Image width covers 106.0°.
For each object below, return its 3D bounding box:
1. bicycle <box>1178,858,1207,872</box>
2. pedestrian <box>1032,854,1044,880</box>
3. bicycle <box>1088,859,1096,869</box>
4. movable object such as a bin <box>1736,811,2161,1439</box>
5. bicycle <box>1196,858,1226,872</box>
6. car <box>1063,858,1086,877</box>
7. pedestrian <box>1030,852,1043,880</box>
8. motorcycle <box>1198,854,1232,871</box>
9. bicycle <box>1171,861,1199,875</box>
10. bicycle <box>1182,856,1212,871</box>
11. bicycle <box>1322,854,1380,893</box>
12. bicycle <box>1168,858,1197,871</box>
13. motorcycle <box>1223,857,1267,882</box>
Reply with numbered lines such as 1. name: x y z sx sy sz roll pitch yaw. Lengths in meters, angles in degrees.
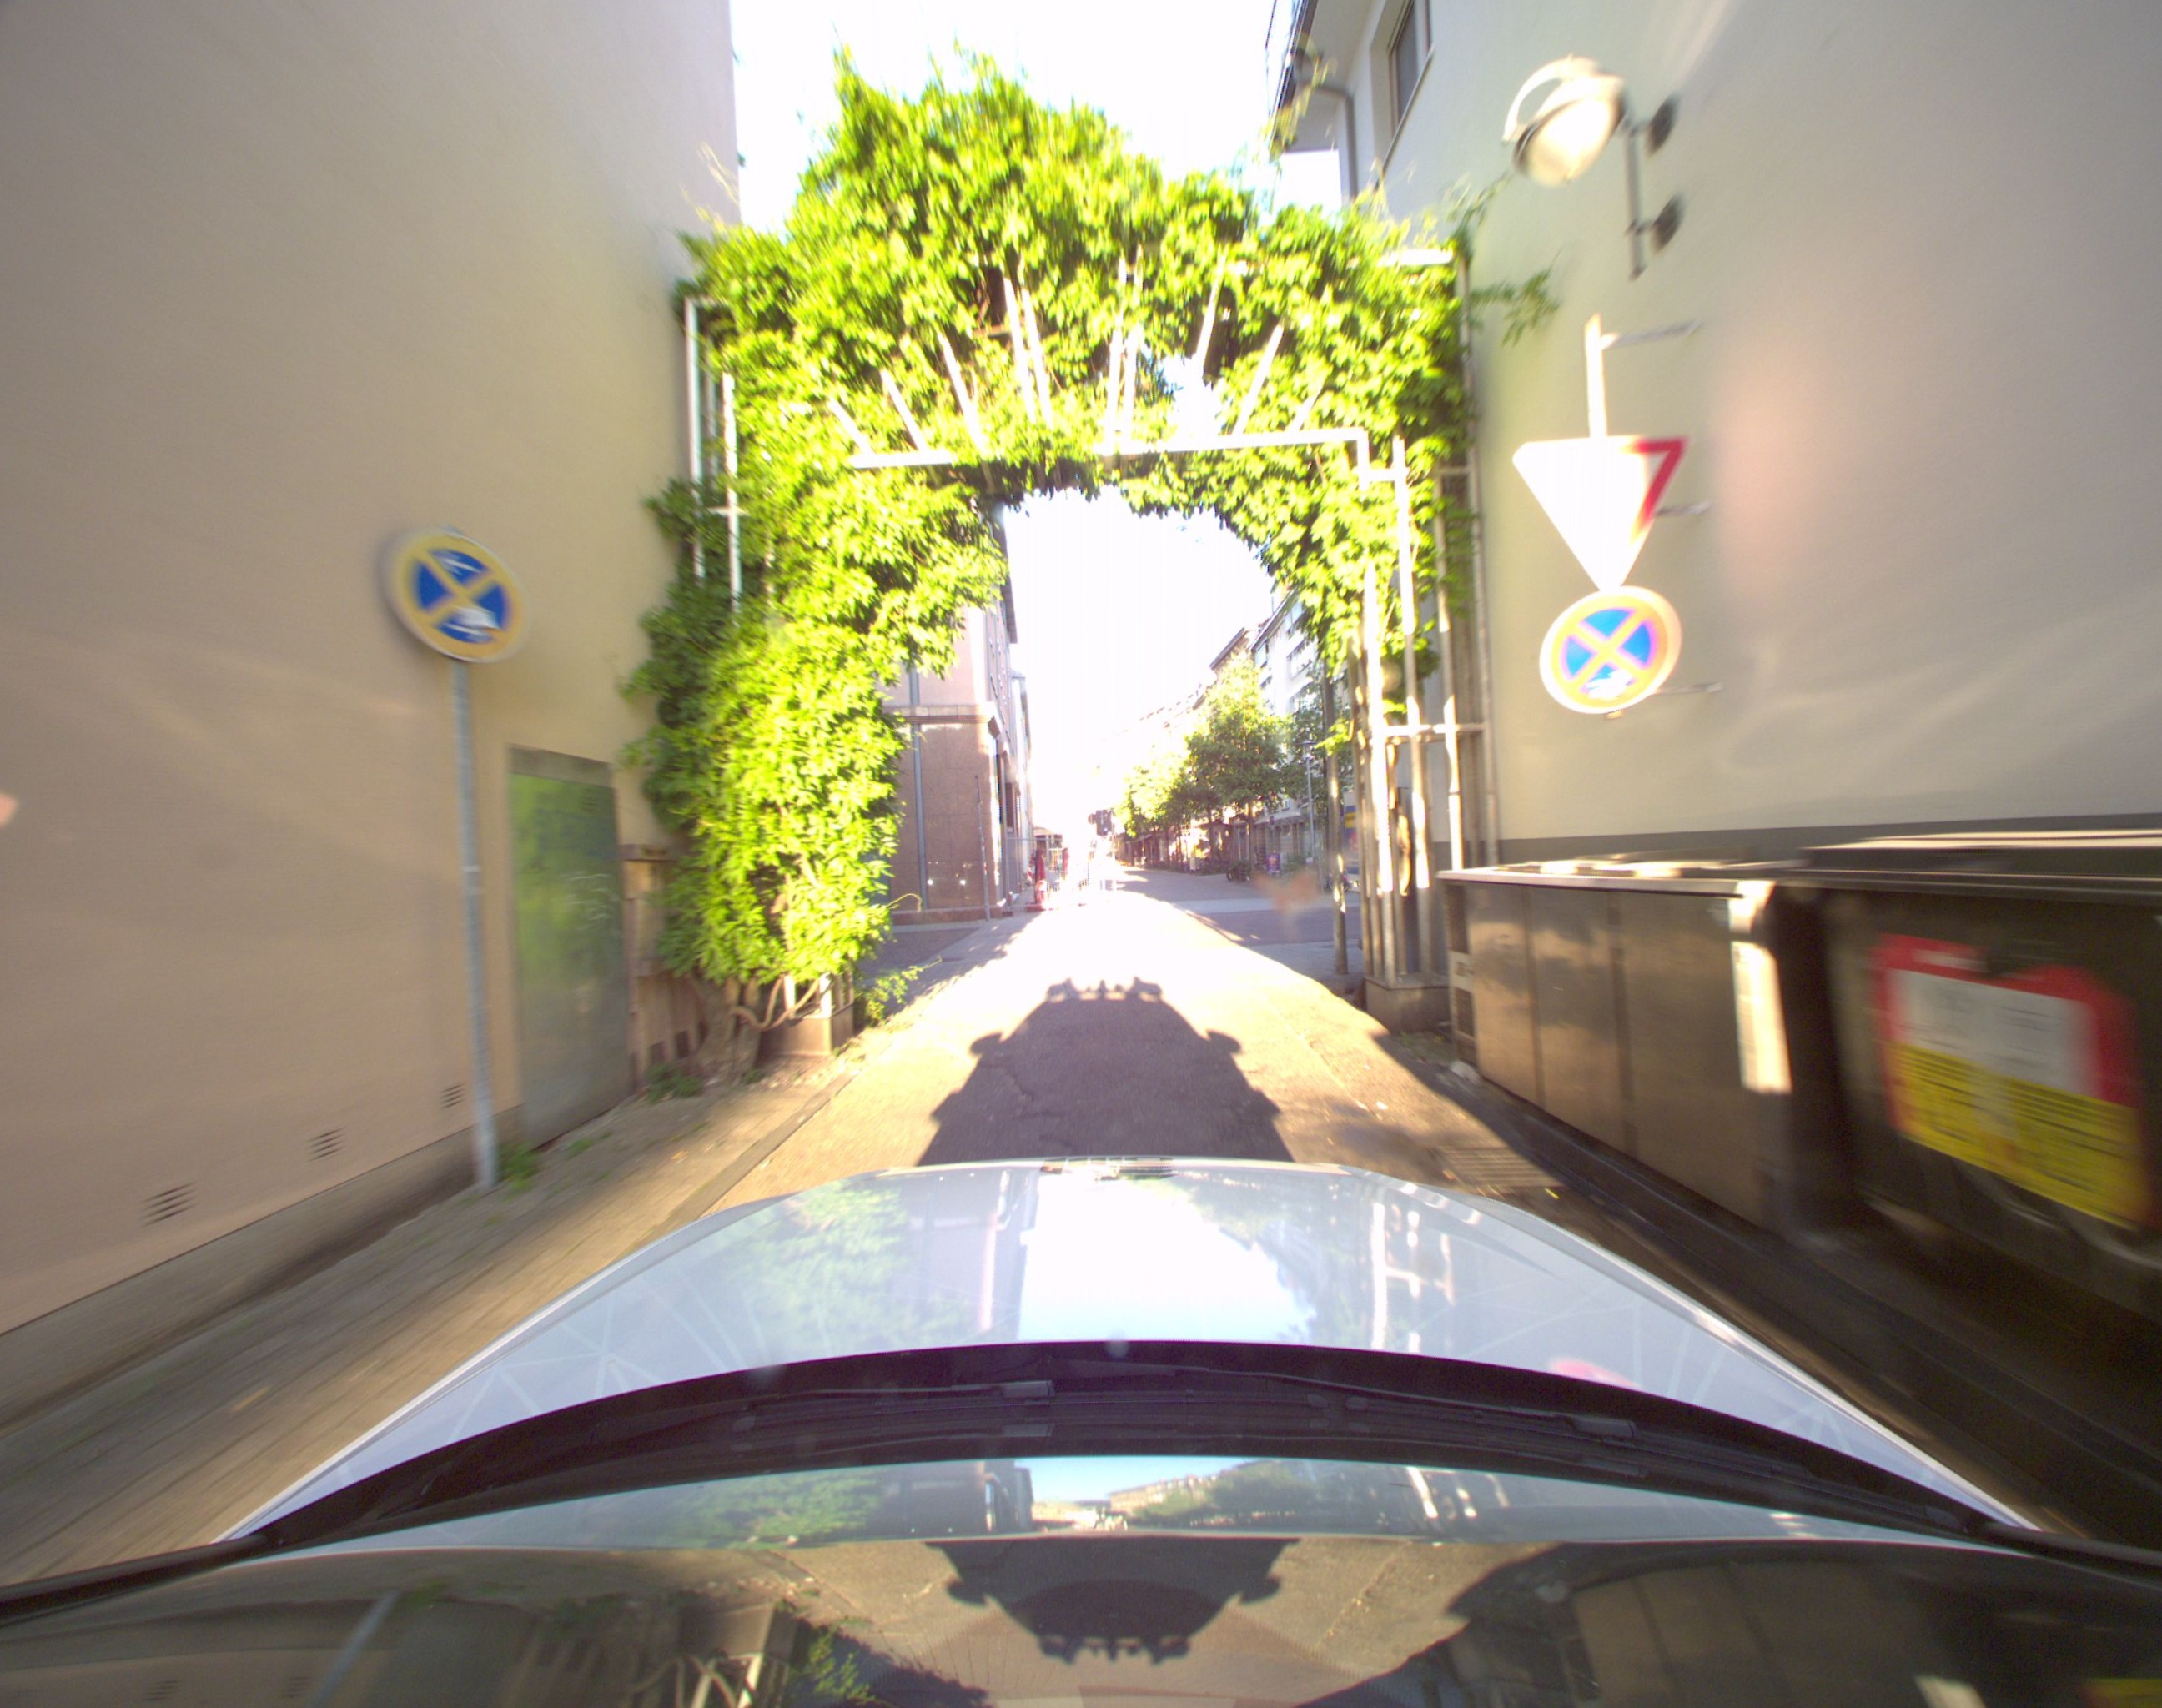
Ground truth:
1. bicycle: 8.771 0.883 64.114 2.151 0.926 0.589 -3 -1 -8
2. pedestrian: -2.829 0.872 53.367 0.651 1.651 0.635 -3 -1 4
3. bicycle: 1.310 1.154 96.277 0.589 1.095 2.153 -3 -1 -9
4. movable object such as a bin: 2.704 0.564 2.168 0.832 1.305 1.291 -5 0 4
5. bicycle: 9.574 0.807 59.994 2.157 0.926 0.587 -3 -2 -16
6. car: -0.657 1.330 78.378 1.839 1.684 3.638 -3 -1 -5
7. pedestrian: -2.906 0.754 52.757 0.651 1.764 0.635 -3 -1 4
8. motorcycle: 9.687 0.640 58.864 2.482 1.095 0.586 -3 -2 -23
9. bicycle: 8.327 1.119 65.239 2.151 0.926 0.589 -3 -1 -8
10. bicycle: 8.789 0.726 61.868 2.137 1.061 0.593 -4 -2 13
11. bicycle: 8.645 0.623 26.099 1.643 1.050 0.666 -6 0 17
12. bicycle: 8.243 0.888 66.124 2.151 0.926 0.589 -3 -1 -8
13. motorcycle: 8.541 0.810 42.431 2.148 1.151 0.493 -3 -2 -3
